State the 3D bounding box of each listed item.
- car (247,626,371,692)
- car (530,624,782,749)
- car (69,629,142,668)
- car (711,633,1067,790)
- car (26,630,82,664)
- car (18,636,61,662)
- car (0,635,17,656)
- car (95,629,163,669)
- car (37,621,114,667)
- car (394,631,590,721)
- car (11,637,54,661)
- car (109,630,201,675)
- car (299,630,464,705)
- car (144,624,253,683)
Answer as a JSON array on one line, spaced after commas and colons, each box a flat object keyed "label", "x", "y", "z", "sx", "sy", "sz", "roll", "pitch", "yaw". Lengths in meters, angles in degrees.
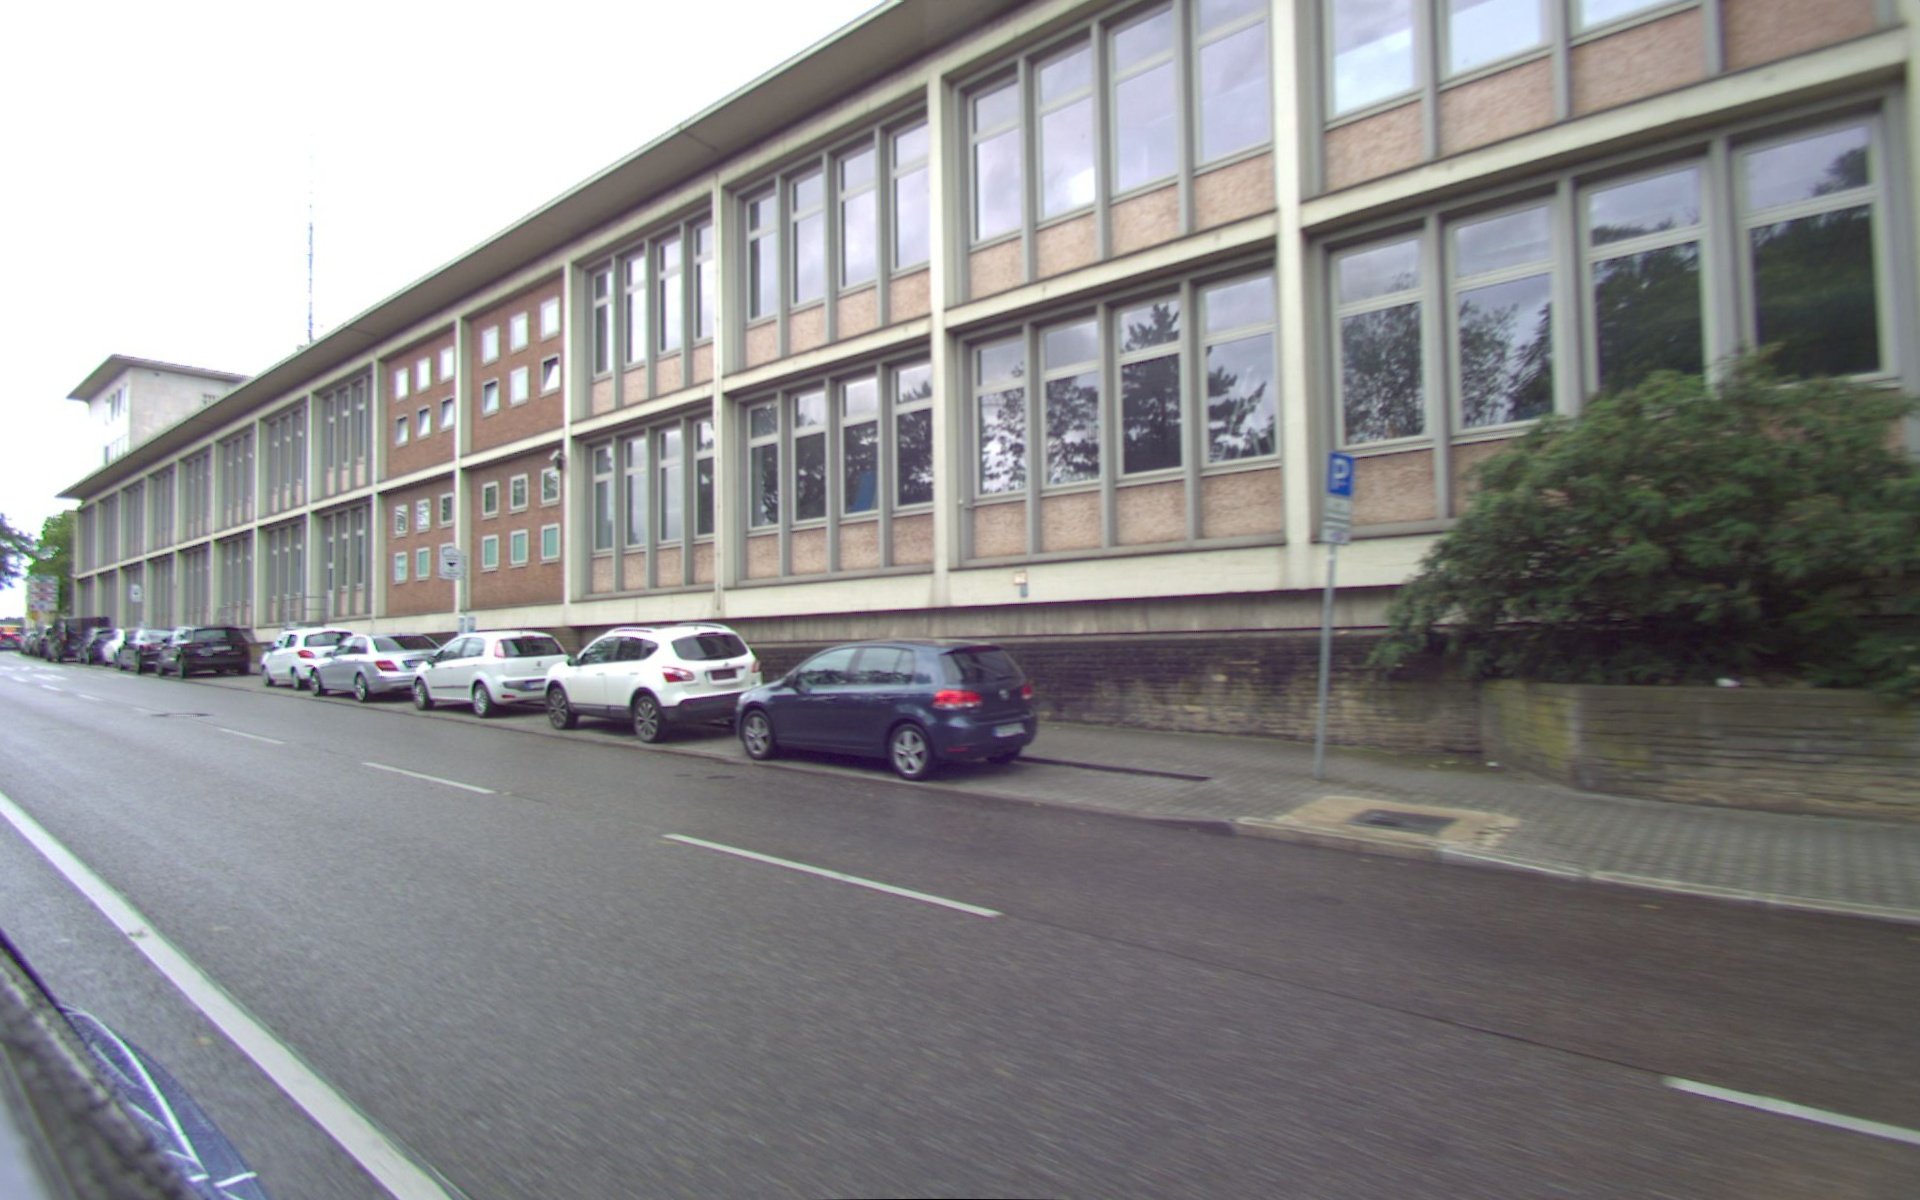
[{"label": "car", "x": -16.860, "y": 1.464, "z": 26.139, "sx": 3.918, "sy": 1.534, "sz": 1.662, "roll": -1, "pitch": -1, "yaw": 41}, {"label": "car", "x": -4.747, "y": 1.208, "z": 15.503, "sx": 4.179, "sy": 1.610, "sz": 1.730, "roll": -2, "pitch": -1, "yaw": 41}, {"label": "car", "x": -36.140, "y": 2.026, "z": 42.771, "sx": 4.312, "sy": 1.564, "sz": 1.840, "roll": -2, "pitch": -3, "yaw": 43}, {"label": "car", "x": -0.964, "y": 1.168, "z": 12.044, "sx": 4.177, "sy": 1.491, "sz": 1.730, "roll": -2, "pitch": 0, "yaw": 40}, {"label": "car", "x": -46.633, "y": 2.374, "z": 52.080, "sx": 4.604, "sy": 1.688, "sz": 1.777, "roll": -2, "pitch": -2, "yaw": 44}, {"label": "car", "x": -50.695, "y": 2.662, "z": 55.695, "sx": 4.111, "sy": 1.364, "sz": 1.525, "roll": -3, "pitch": -3, "yaw": 45}, {"label": "car", "x": -78.682, "y": 3.732, "z": 83.065, "sx": 1.800, "sy": 1.673, "sz": 4.341, "roll": 2, "pitch": -3, "yaw": -43}, {"label": "car", "x": -32.589, "y": 1.925, "z": 39.662, "sx": 3.552, "sy": 1.495, "sz": 1.549, "roll": -2, "pitch": -3, "yaw": 43}, {"label": "car", "x": -40.272, "y": 1.978, "z": 46.036, "sx": 4.993, "sy": 1.958, "sz": 1.929, "roll": -2, "pitch": -2, "yaw": 41}, {"label": "car", "x": -8.931, "y": 1.358, "z": 19.169, "sx": 4.177, "sy": 1.465, "sz": 1.730, "roll": -2, "pitch": 0, "yaw": 40}, {"label": "car", "x": -54.605, "y": 2.880, "z": 59.586, "sx": 4.094, "sy": 1.307, "sz": 1.672, "roll": -2, "pitch": -3, "yaw": 45}, {"label": "car", "x": -28.565, "y": 1.838, "z": 35.858, "sx": 4.909, "sy": 1.495, "sz": 1.796, "roll": -2, "pitch": -3, "yaw": 43}, {"label": "car", "x": -12.915, "y": 1.422, "z": 22.469, "sx": 4.482, "sy": 1.446, "sz": 1.730, "roll": -1, "pitch": 0, "yaw": 40}, {"label": "car", "x": -24.104, "y": 1.629, "z": 31.992, "sx": 4.512, "sy": 1.666, "sz": 1.822, "roll": -1, "pitch": 0, "yaw": 40}]
